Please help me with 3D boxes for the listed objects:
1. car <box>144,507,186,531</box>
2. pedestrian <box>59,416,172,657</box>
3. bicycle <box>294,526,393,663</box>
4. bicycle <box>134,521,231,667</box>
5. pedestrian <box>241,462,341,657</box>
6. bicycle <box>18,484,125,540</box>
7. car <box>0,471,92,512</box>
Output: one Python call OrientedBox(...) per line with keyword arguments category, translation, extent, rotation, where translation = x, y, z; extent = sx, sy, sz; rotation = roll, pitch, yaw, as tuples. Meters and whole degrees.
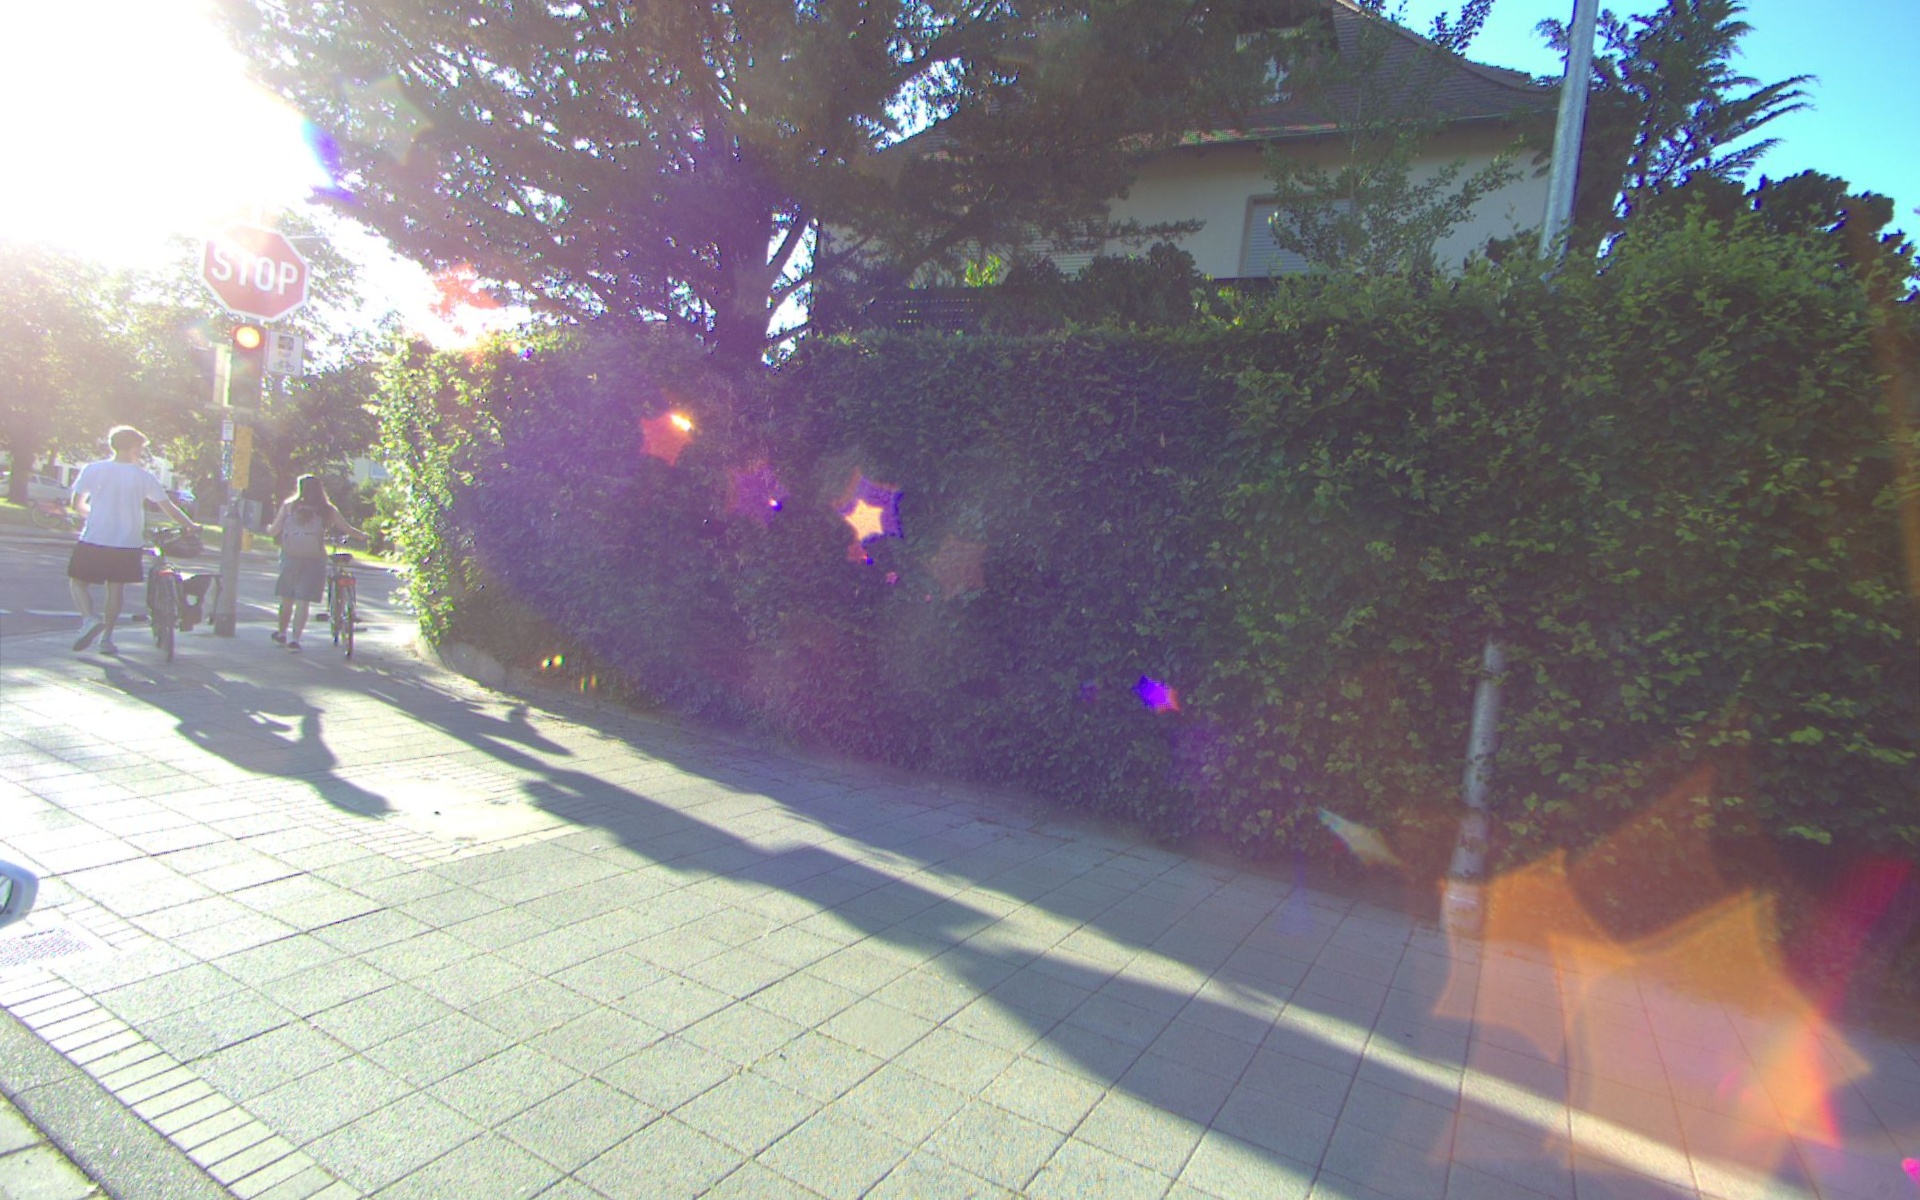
OrientedBox(category="car", translation=(-55.272, -5.610, 70.008), extent=(1.651, 1.435, 3.514), rotation=(7, 0, -30))
OrientedBox(category="pedestrian", translation=(-7.073, -0.505, 8.436), extent=(0.666, 1.891, 0.871), rotation=(1, 3, -41))
OrientedBox(category="bicycle", translation=(-5.970, -0.083, 9.708), extent=(0.484, 1.158, 1.578), rotation=(3, 4, -42))
OrientedBox(category="bicycle", translation=(-6.750, -0.083, 8.703), extent=(0.485, 1.112, 1.769), rotation=(2, 3, -43))
OrientedBox(category="pedestrian", translation=(-6.253, -0.375, 9.395), extent=(0.665, 1.733, 0.615), rotation=(2, 6, -40))
OrientedBox(category="bicycle", translation=(-23.210, -2.285, 26.316), extent=(0.609, 1.146, 1.956), rotation=(8, 1, 32))
OrientedBox(category="car", translation=(-46.398, -5.485, 50.546), extent=(1.569, 1.445, 3.854), rotation=(7, 0, 26))
